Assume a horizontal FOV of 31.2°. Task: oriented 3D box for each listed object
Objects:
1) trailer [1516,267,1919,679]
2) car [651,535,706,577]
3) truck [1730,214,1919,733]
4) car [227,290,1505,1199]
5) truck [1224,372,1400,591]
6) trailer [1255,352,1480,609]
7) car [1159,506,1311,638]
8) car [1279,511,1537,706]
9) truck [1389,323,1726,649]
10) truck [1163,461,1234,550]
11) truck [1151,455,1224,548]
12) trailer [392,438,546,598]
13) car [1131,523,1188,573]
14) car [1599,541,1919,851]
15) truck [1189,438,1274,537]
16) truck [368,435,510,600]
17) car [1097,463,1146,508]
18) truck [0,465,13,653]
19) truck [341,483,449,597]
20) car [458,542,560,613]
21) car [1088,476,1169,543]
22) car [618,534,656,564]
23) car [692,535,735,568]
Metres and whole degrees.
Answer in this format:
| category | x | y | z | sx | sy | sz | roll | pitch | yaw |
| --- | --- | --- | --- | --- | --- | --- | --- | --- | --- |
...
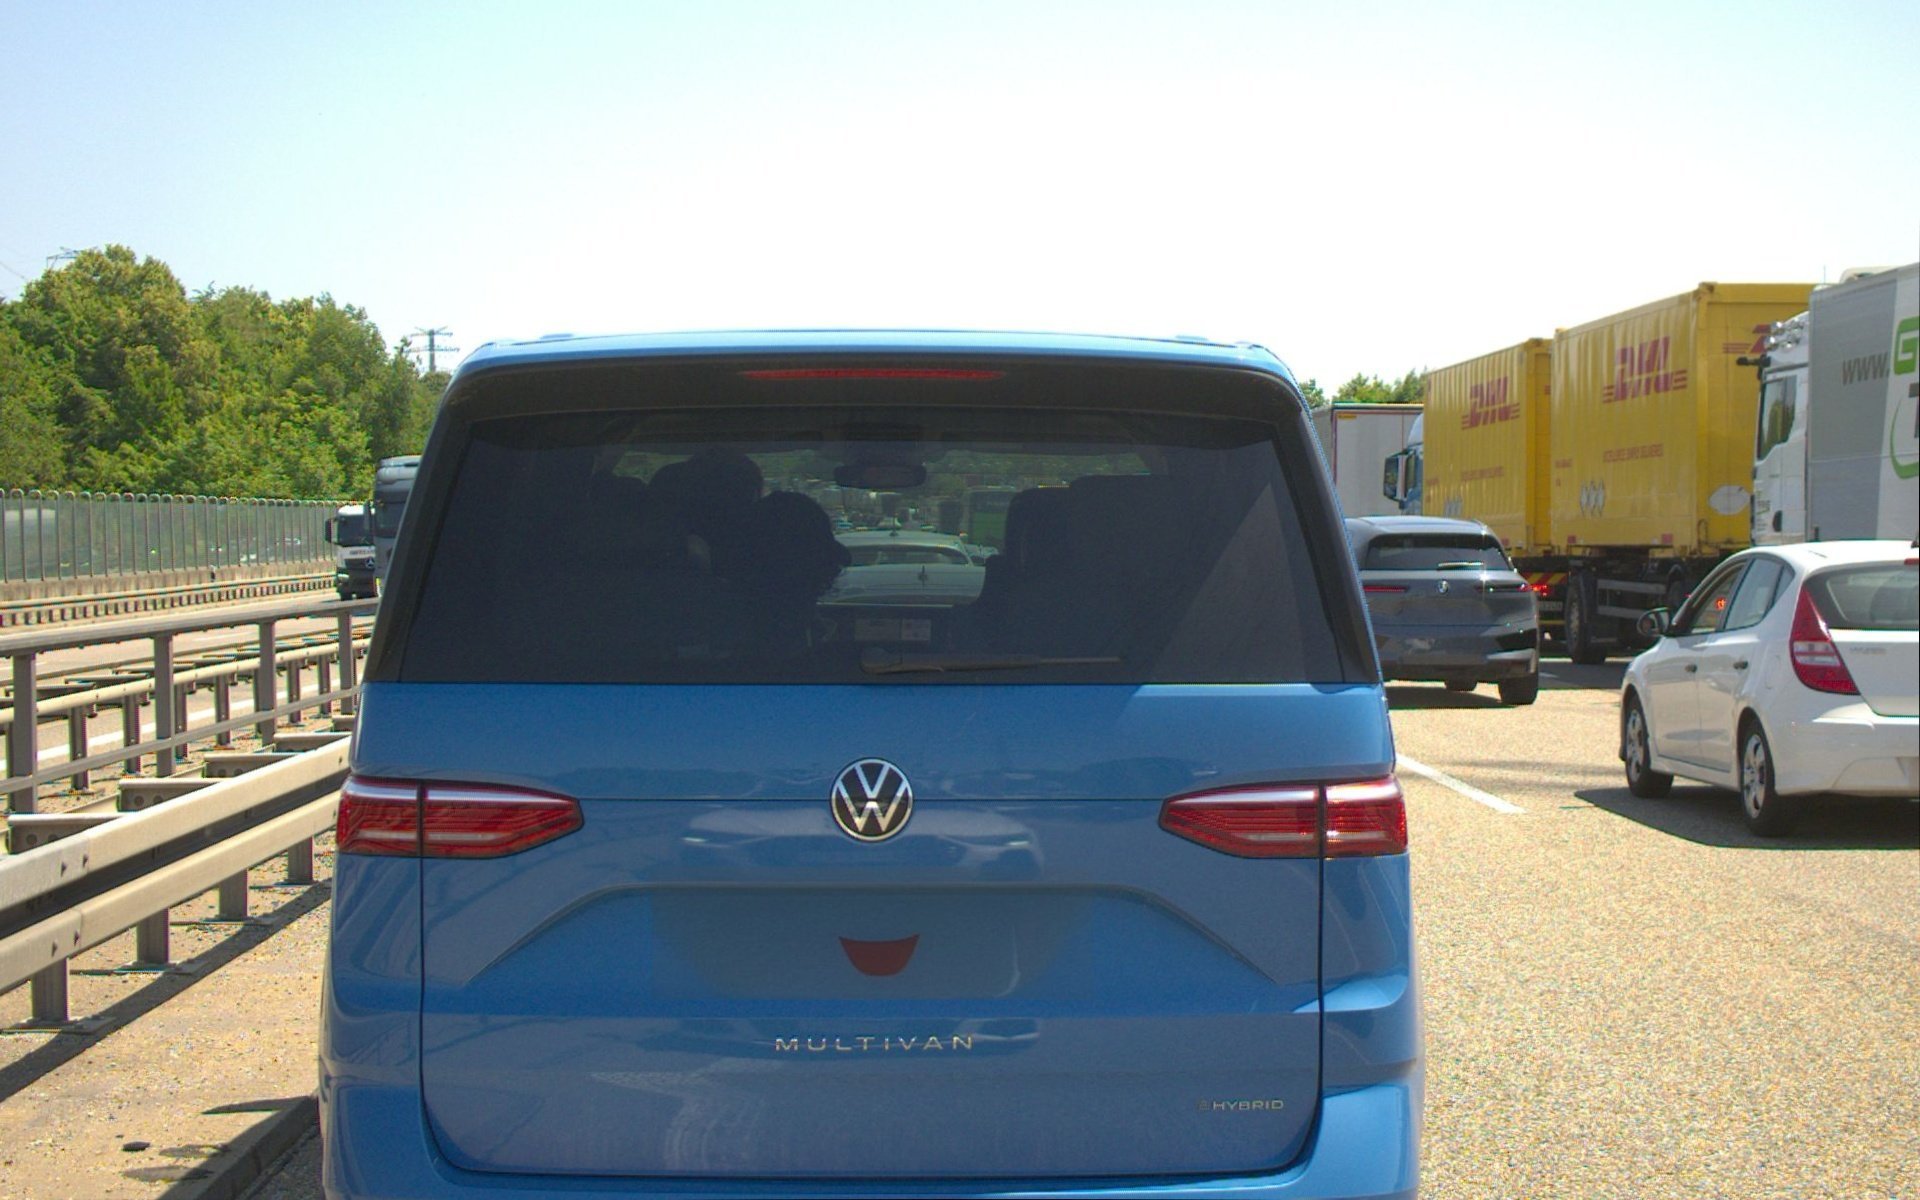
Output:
| category | x | y | z | sx | sy | sz | roll | pitch | yaw |
| --- | --- | --- | --- | --- | --- | --- | --- | --- | --- |
| trailer | 8.522 | -1.308 | 38.830 | 2.682 | 4.074 | 8.981 | 1 | 1 | -2 |
| car | -10.628 | -1.656 | 130.058 | 1.881 | 1.547 | 4.190 | 1 | 1 | -2 |
| truck | 8.662 | -0.951 | 26.514 | 2.851 | 3.921 | 10.610 | 1 | 1 | -1 |
| car | -0.168 | 0.455 | 7.242 | 1.930 | 1.867 | 4.000 | 1 | 1 | -1 |
| truck | 7.767 | -2.553 | 76.806 | 3.026 | 4.595 | 7.921 | 1 | 0 | 0 |
| trailer | 7.809 | -2.201 | 67.388 | 3.026 | 4.595 | 10.925 | 1 | 1 | 0 |
| car | 4.207 | -0.438 | 53.094 | 1.962 | 1.929 | 3.932 | 1 | 1 | -1 |
| car | 4.086 | 0.056 | 31.907 | 1.815 | 1.673 | 3.932 | 1 | 1 | -1 |
| truck | 8.152 | -1.486 | 48.298 | 2.699 | 4.074 | 9.941 | 1 | 1 | -2 |
| truck | 7.156 | -2.816 | 103.573 | 1.797 | 2.587 | 4.306 | 1 | 0 | 0 |
| truck | 6.481 | -2.784 | 98.191 | 1.742 | 2.540 | 4.210 | 1 | 0 | 0 |
| trailer | -13.687 | -2.233 | 96.794 | 2.704 | 4.151 | 12.051 | -2 | 1 | -1 |
| car | 7.164 | -1.869 | 123.812 | 1.797 | 1.745 | 3.943 | 1 | 1 | 0 |
| car | 4.739 | 0.443 | 18.321 | 1.815 | 1.465 | 3.932 | 1 | 1 | -2 |
| truck | 7.030 | -2.898 | 89.484 | 1.798 | 2.441 | 4.504 | 1 | 1 | 0 |
| truck | -13.564 | -2.117 | 89.916 | 2.753 | 4.102 | 6.266 | -1 | 1 | -1 |
| car | 6.665 | -4.736 | 142.235 | 1.797 | 1.745 | 3.943 | 1 | 1 | 0 |
| truck | -17.427 | -0.594 | 54.249 | 2.563 | 3.177 | 8.294 | -3 | 1 | 0 |
| truck | -18.338 | -1.928 | 111.882 | 2.520 | 3.523 | 5.330 | -2 | 0 | 0 |
| car | -10.106 | -0.514 | 77.240 | 1.797 | 1.493 | 3.852 | -2 | 1 | -1 |
| car | 4.502 | -2.409 | 92.245 | 1.919 | 1.700 | 4.000 | 1 | 1 | -1 |
| car | -18.080 | -2.848 | 192.557 | 1.806 | 1.634 | 4.000 | -2 | 1 | -2 |
| car | -11.891 | -2.348 | 165.943 | 1.881 | 1.547 | 4.190 | 1 | 1 | -2 |
